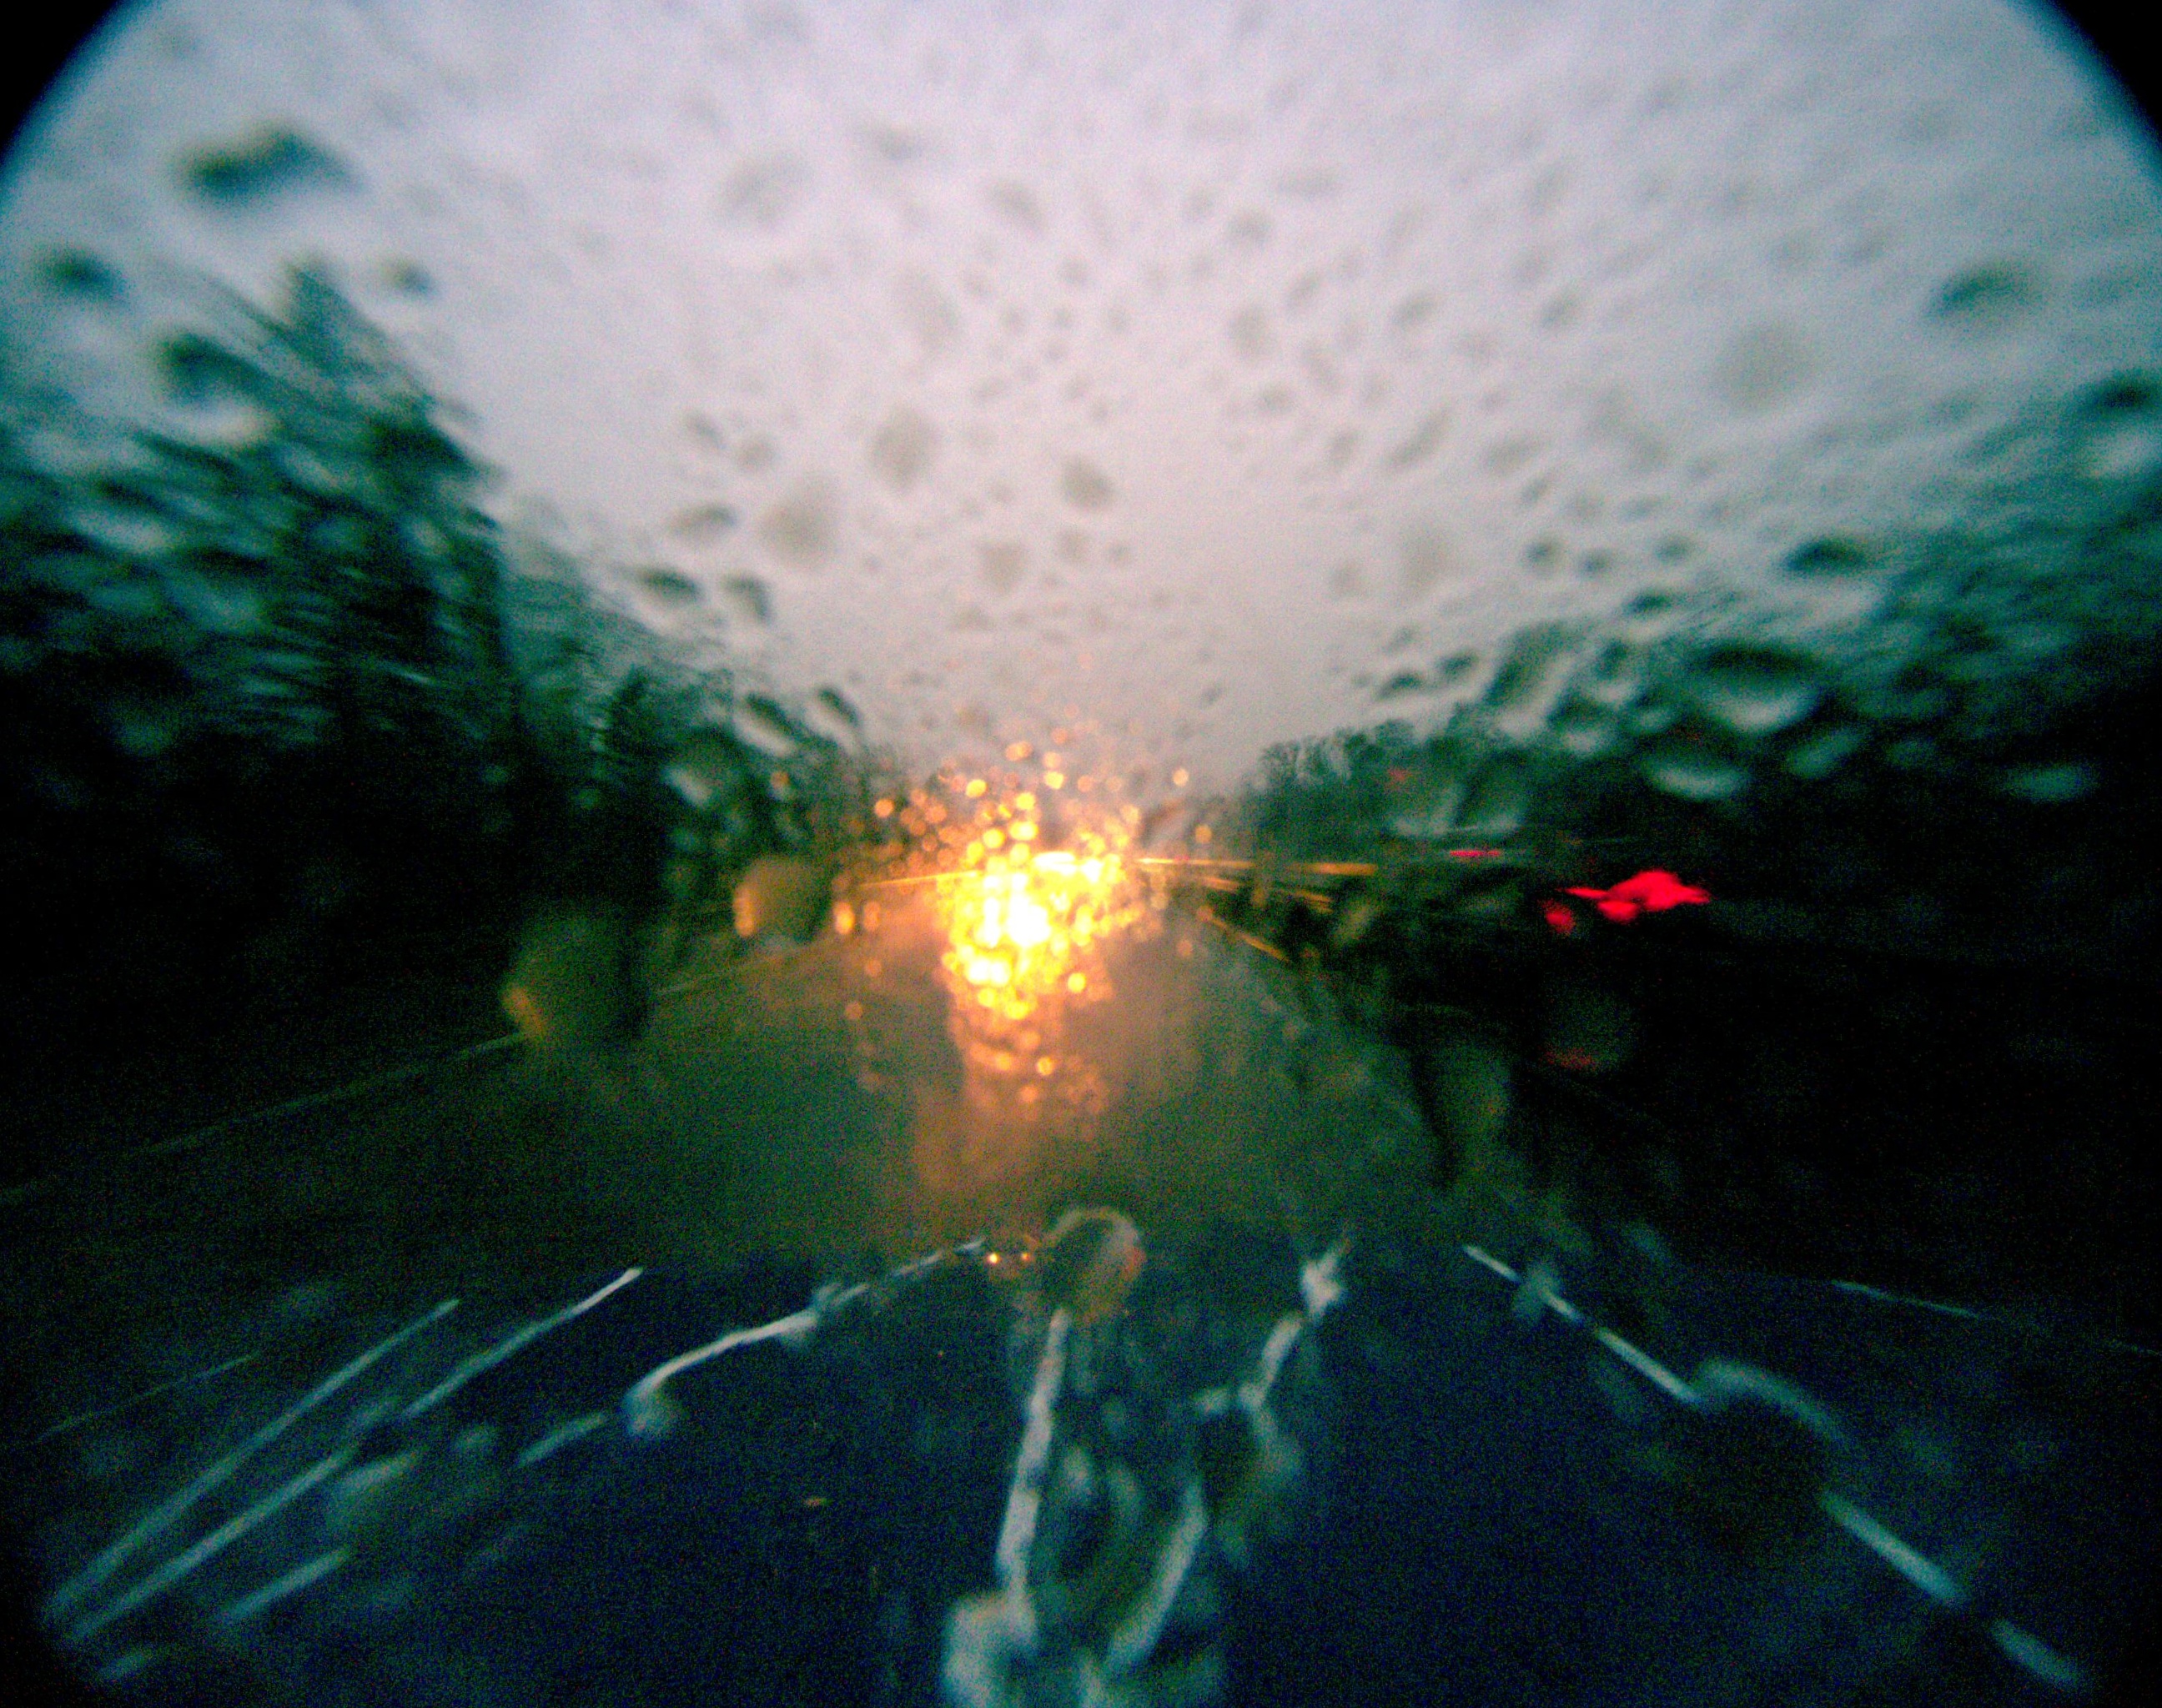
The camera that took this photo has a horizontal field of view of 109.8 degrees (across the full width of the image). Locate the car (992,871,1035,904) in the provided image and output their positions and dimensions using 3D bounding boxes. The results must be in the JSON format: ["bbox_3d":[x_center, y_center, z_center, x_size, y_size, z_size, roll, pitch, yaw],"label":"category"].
[{"bbox_3d":[-3.076,1.521,35.178,1.603,1.358,3.305,-1,0,1],"label":"car"}]

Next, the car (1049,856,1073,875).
[{"bbox_3d":[-1.687,0.939,64.872,1.741,1.441,4.000,-2,1,3],"label":"car"}]

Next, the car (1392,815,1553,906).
[{"bbox_3d":[11.343,0.151,22.592,2.036,2.303,5.460,-2,1,2],"label":"car"}]

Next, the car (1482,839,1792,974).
[{"bbox_3d":[7.196,0.575,10.318,1.635,1.459,3.523,-2,1,1],"label":"car"}]

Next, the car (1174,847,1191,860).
[{"bbox_3d":[13.984,-0.069,104.930,1.724,1.737,4.425,-2,0,1],"label":"car"}]

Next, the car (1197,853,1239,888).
[{"bbox_3d":[8.487,0.995,47.577,1.747,1.945,4.817,-2,1,1],"label":"car"}]
